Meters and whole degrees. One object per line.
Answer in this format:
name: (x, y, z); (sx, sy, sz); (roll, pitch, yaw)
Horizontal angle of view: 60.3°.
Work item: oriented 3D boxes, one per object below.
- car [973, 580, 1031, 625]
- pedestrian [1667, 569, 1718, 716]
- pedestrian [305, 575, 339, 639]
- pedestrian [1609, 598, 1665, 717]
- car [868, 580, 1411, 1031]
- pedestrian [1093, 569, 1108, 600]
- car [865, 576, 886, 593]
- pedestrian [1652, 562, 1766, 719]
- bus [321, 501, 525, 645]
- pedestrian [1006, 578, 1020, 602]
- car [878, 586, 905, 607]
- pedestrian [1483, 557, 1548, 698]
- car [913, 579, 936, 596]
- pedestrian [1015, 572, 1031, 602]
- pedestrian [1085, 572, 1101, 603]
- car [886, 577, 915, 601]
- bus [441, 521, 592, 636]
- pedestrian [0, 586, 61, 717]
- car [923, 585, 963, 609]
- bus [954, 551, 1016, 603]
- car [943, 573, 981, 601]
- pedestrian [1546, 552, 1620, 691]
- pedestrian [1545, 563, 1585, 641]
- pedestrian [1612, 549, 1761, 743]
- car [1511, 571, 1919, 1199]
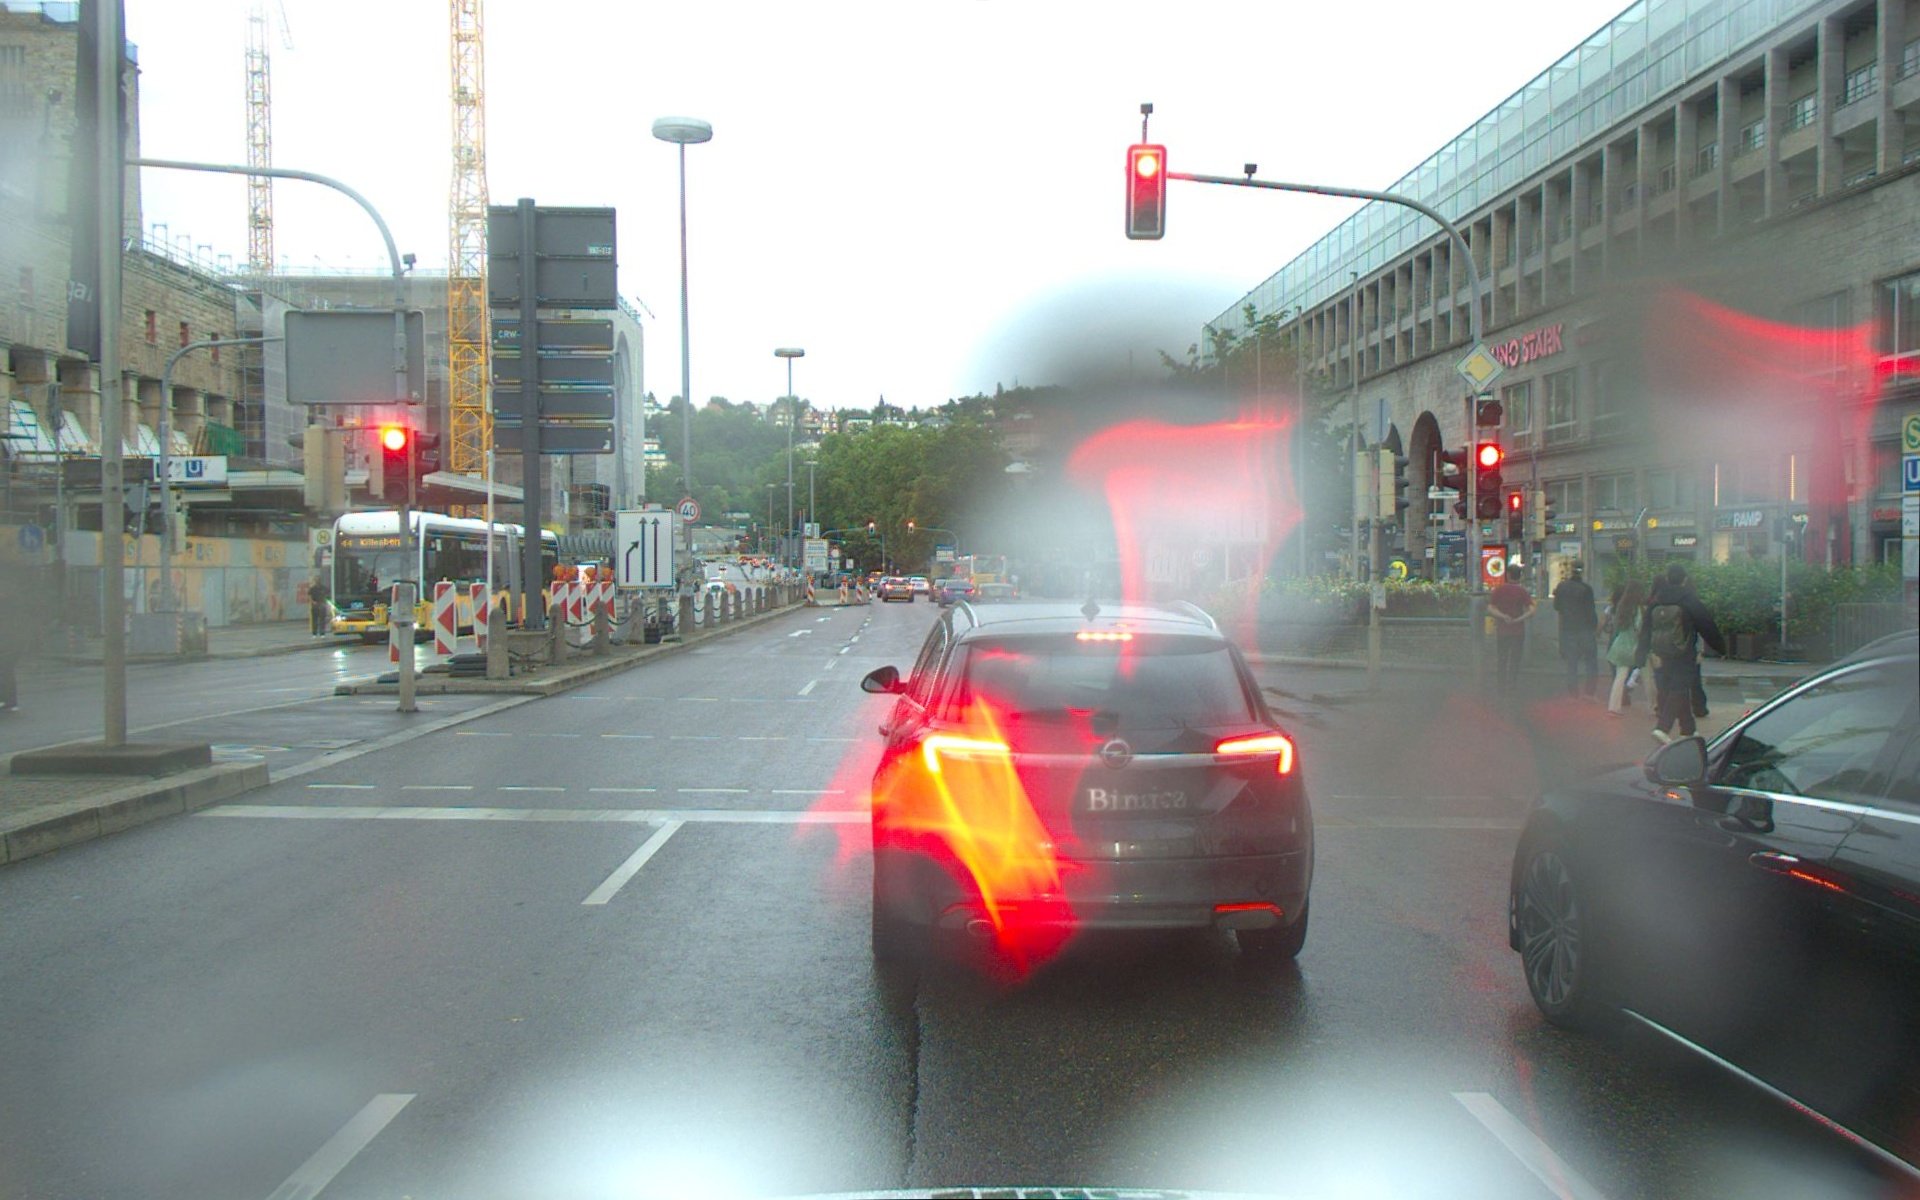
car: (1.393, 0.092, 55.655); (1.808, 1.422, 3.666); (1, 0, 0)
pedestrian: (9.094, 0.519, 20.544); (0.471, 1.782, 0.666); (-2, 0, 19)
pedestrian: (-17.381, 0.183, 45.090); (0.646, 1.710, 0.644); (1, 0, -1)
pedestrian: (8.482, 0.707, 20.728); (0.617, 1.452, 0.490); (1, 0, 21)
car: (0.573, 0.705, 7.636); (1.837, 1.512, 3.999); (1, 0, -1)
pedestrian: (8.013, -0.886, 94.326); (0.748, 1.720, 0.824); (1, 0, -5)
car: (-7.673, -1.405, 149.835); (1.723, 1.422, 3.563); (1, 0, -1)
pedestrian: (8.105, 0.430, 17.929); (0.778, 1.654, 0.899); (1, 0, -4)
bus: (-15.203, -0.691, 47.820); (2.614, 3.665, 10.237); (1, 0, -1)
pedestrian: (4.796, -0.912, 150.263); (1.174, 2.186, 1.228); (1, 0, 0)
car: (-4.856, -0.257, 118.243); (1.808, 1.422, 3.563); (1, 0, -1)
pedestrian: (7.180, 0.353, 21.364); (0.560, 1.783, 0.676); (1, 0, 42)
car: (-2.972, -1.035, 139.095); (1.808, 1.422, 3.563); (1, 0, -1)
pedestrian: (5.202, -1.065, 136.494); (1.174, 2.478, 1.228); (1, 0, 0)
pedestrian: (7.690, -0.723, 95.516); (0.748, 1.720, 0.824); (1, 0, -5)
car: (-3.601, -0.650, 100.421); (1.718, 1.422, 4.536); (1, 0, -2)
bus: (-15.363, -0.684, 58.140); (2.614, 3.665, 10.209); (1, 0, -1)
pedestrian: (-11.889, 0.623, 20.626); (0.854, 1.588, 0.788); (1, 0, 10)
car: (-1.079, -0.181, 103.850); (1.722, 1.422, 4.390); (1, 0, -11)
bus: (1.701, -1.585, 120.918); (4.089, 3.529, 14.651); (1, 0, -1)
car: (0.084, -0.657, 86.366); (1.718, 1.422, 4.645); (1, 0, -3)
pedestrian: (7.943, 0.274, 21.096); (0.740, 1.747, 0.466); (1, 0, -5)
pedestrian: (16.250, 0.052, 44.432); (0.751, 2.049, 0.820); (1, 0, 41)
pedestrian: (6.931, 0.430, 15.819); (1.074, 1.782, 0.653); (-2, 0, -4)
car: (3.033, 0.714, 4.021); (1.757, 1.528, 4.627); (1, 0, -1)
